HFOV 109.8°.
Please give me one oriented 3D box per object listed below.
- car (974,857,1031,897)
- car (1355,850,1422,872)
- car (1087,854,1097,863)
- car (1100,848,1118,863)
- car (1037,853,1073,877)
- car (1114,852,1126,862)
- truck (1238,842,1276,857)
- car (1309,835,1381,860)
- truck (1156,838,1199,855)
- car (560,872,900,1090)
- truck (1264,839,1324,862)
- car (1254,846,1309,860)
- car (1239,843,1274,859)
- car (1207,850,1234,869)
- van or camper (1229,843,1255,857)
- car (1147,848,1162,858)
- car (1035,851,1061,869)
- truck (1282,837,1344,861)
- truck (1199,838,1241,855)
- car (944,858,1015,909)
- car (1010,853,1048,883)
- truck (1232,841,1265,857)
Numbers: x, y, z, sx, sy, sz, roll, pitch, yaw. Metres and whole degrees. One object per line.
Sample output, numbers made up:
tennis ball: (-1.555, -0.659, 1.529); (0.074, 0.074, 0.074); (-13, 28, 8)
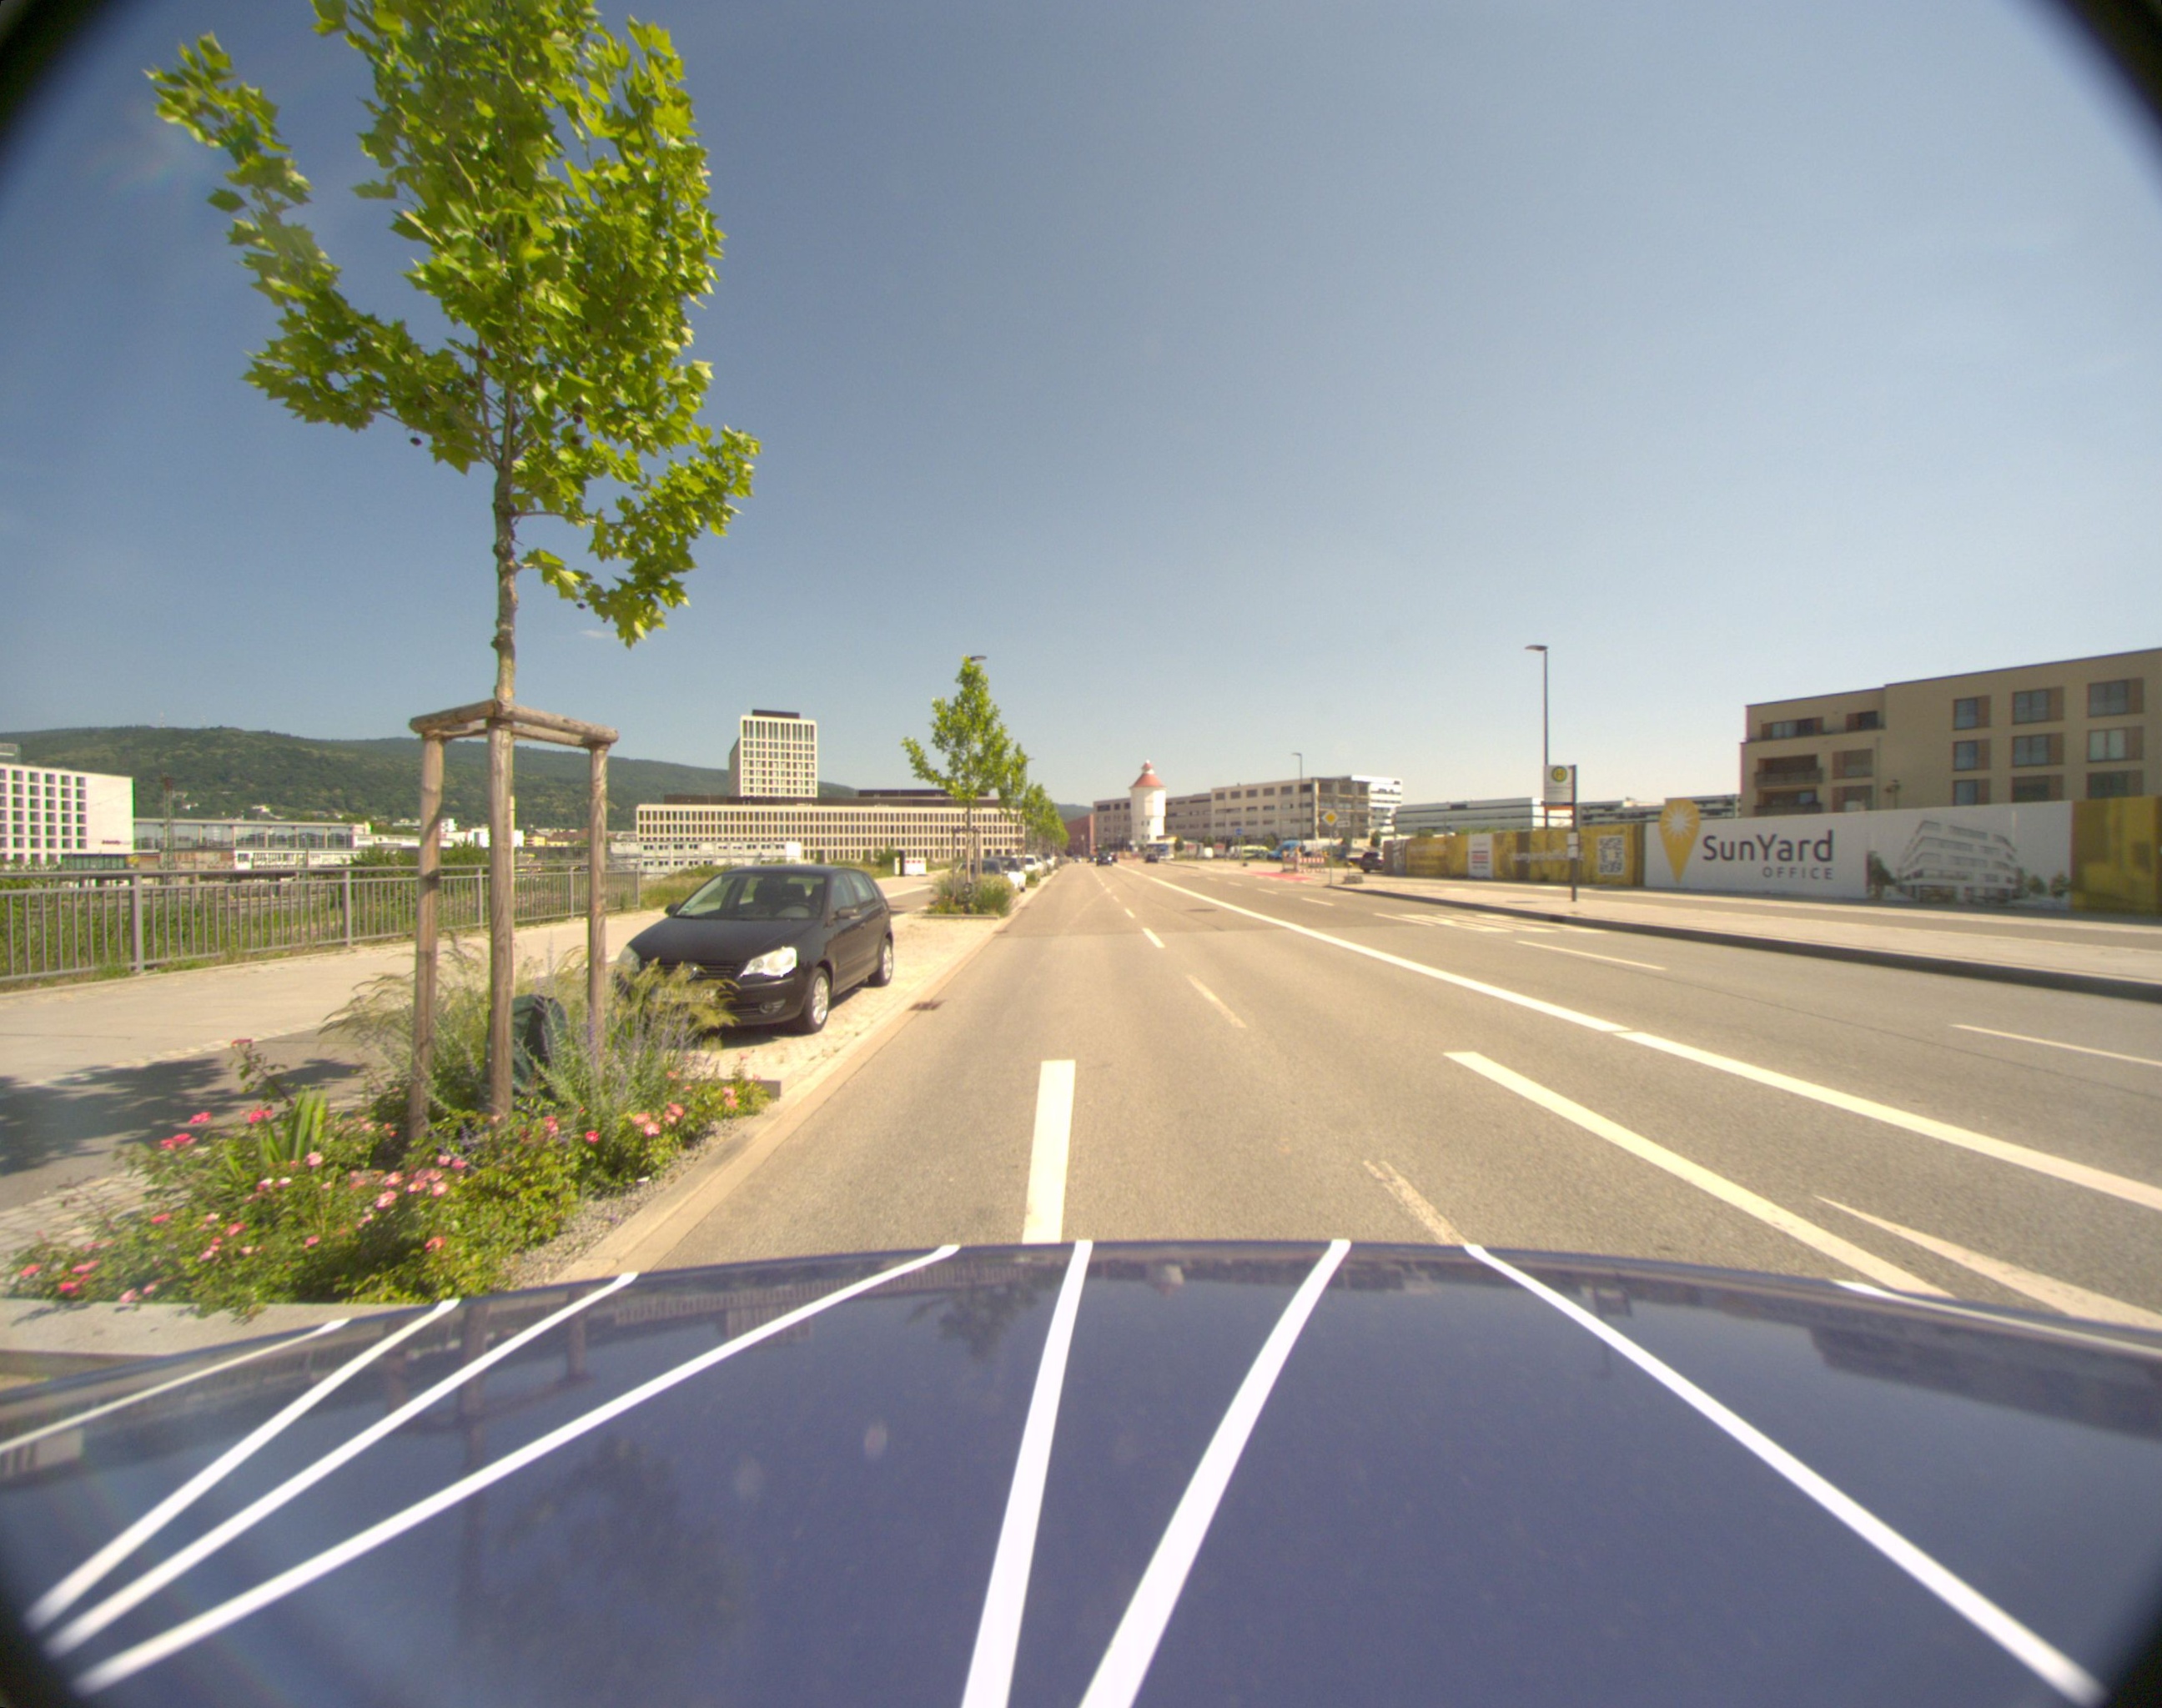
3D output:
car: (-3.073, 0.882, 30.436); (1.708, 1.454, 4.085); (-1, 0, 2)
car: (19.813, 0.429, 48.886); (4.255, 1.310, 1.995); (0, 0, -35)
car: (1.944, 0.712, 135.903); (1.783, 1.552, 3.832); (-1, 0, 1)
car: (2.966, 0.183, 82.083); (1.783, 1.552, 3.831); (0, 1, -1)
car: (-1.617, 0.671, 48.615); (1.913, 1.470, 4.158); (0, 0, 3)
car: (6.726, 0.496, 131.330); (1.917, 1.640, 4.732); (-1, 0, 4)
truck: (34.162, -0.876, 147.704); (6.656, 2.809, 2.601); (-1, 0, -6)
car: (23.191, -0.573, 66.917); (5.458, 2.160, 2.394); (0, 0, -4)
truck: (26.242, -2.017, 205.932); (10.988, 4.045, 3.296); (-3, 2, -18)
car: (-3.114, 1.011, 7.704); (1.709, 1.454, 3.952); (1, 1, -2)
truck: (23.352, -0.401, 83.386); (6.019, 2.528, 2.275); (0, 0, 0)
car: (22.989, -0.114, 87.258); (5.666, 1.465, 2.106); (-1, 0, -2)
car: (21.568, -0.384, 93.323); (3.994, 1.892, 1.828); (0, 0, 7)
car: (11.543, 0.444, 63.017); (1.611, 1.468, 3.678); (1, 1, 1)
van or camper: (33.880, -0.851, 159.779); (4.912, 2.646, 2.259); (-2, 0, 0)
car: (10.543, -0.151, 108.925); (1.708, 1.344, 4.455); (0, 1, 0)
car: (-2.850, 0.493, 66.504); (1.913, 1.568, 4.158); (0, 0, 3)
truck: (23.225, -0.492, 76.203); (5.581, 2.349, 2.274); (0, 0, -2)
truck: (38.193, -2.022, 208.868); (10.952, 4.251, 3.341); (-2, 2, -11)
car: (-3.181, 0.896, 24.534); (1.708, 1.454, 3.954); (-1, 0, 1)
car: (-2.705, 0.703, 40.140); (1.750, 1.500, 4.001); (-1, 0, -1)
truck: (34.365, -0.996, 155.678); (6.160, 2.885, 2.570); (-2, 2, 1)
